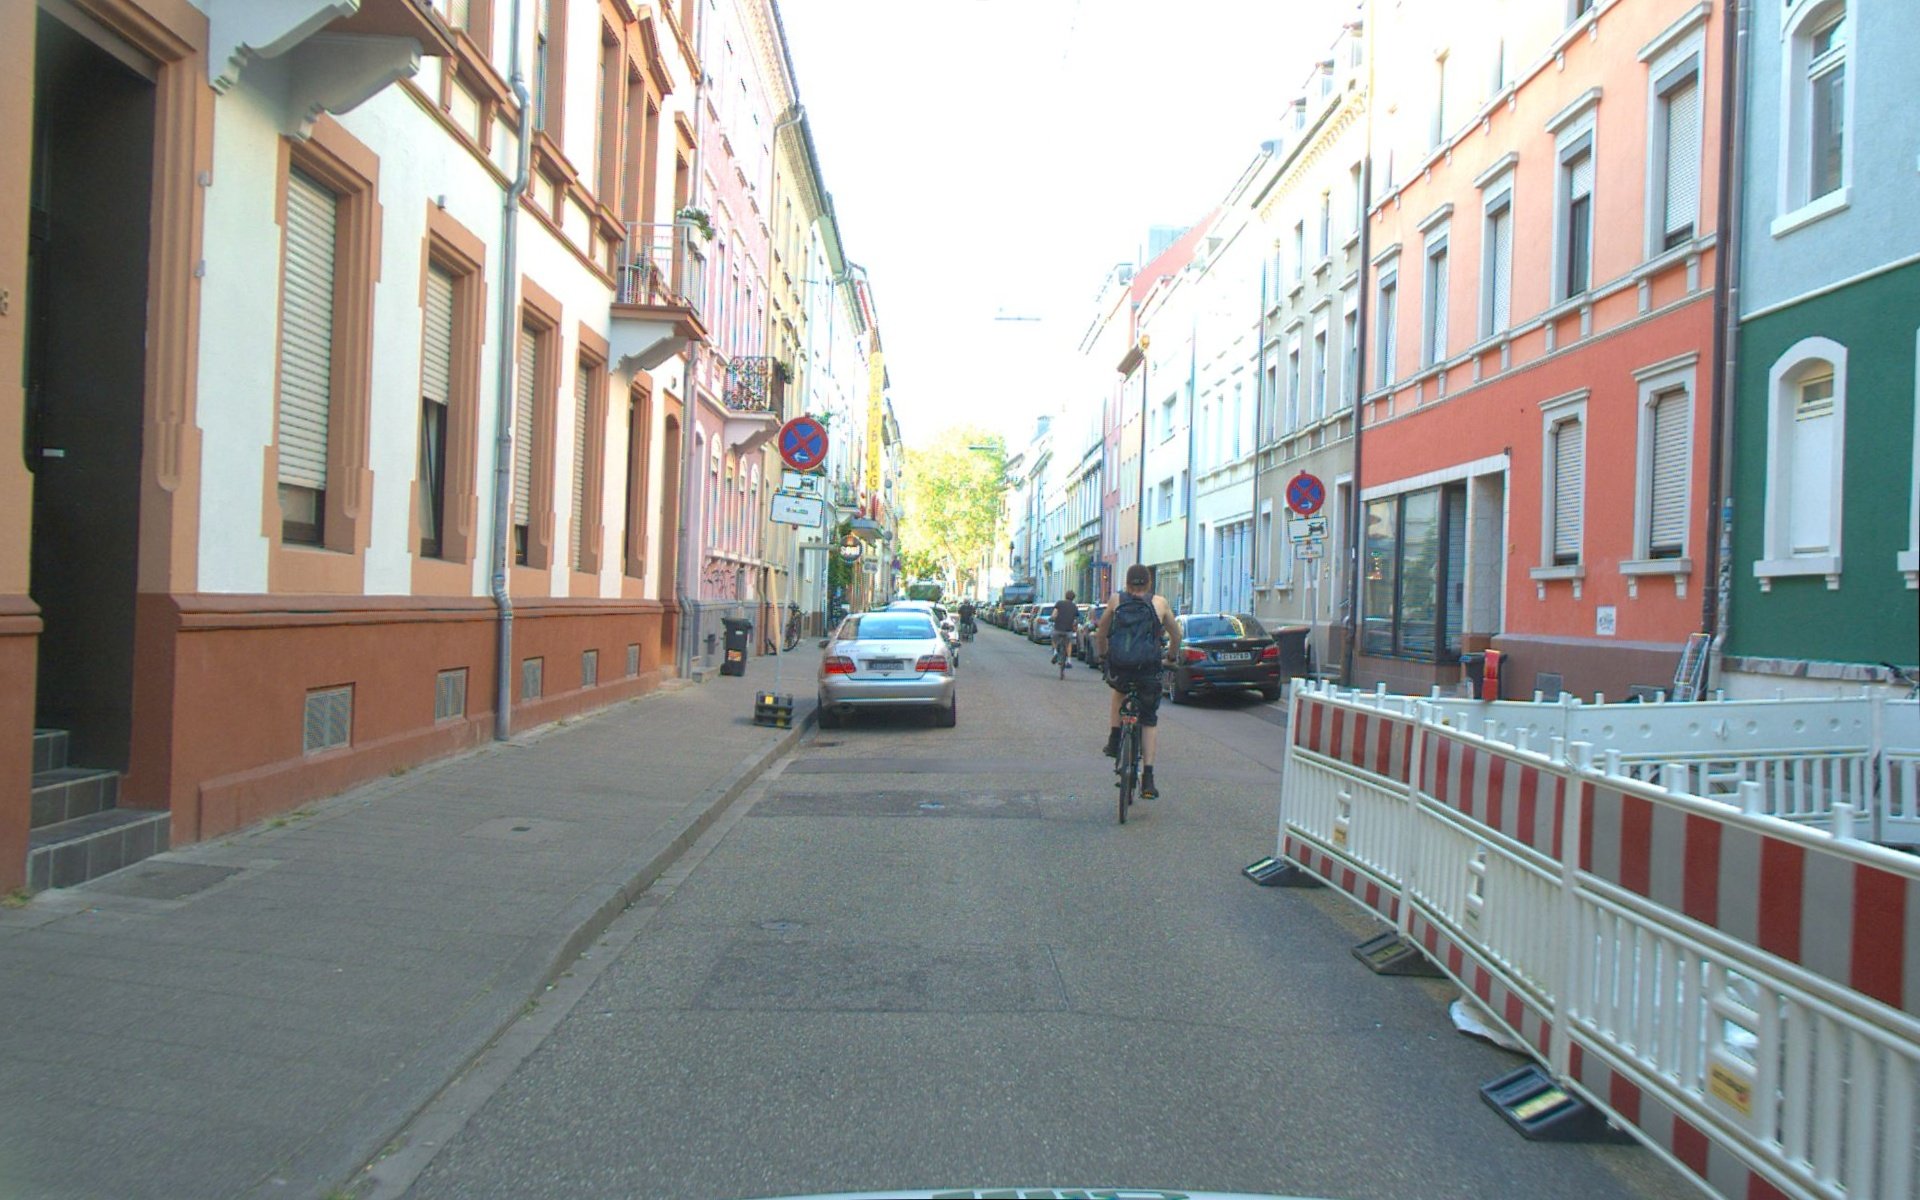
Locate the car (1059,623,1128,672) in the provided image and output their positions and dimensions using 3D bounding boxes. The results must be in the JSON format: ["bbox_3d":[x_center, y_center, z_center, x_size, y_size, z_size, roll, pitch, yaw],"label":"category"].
[{"bbox_3d":[4.005,1.403,50.106,1.676,1.407,3.999,0,-1,-1],"label":"car"}]

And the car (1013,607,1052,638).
[{"bbox_3d":[3.577,1.108,82.056,1.676,1.473,3.999,0,-1,-1],"label":"car"}]

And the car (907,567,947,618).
[{"bbox_3d":[-1.748,-0.375,86.144,1.871,2.540,4.163,1,0,-3],"label":"car"}]

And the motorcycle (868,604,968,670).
[{"bbox_3d":[-0.909,0.789,35.864,2.114,1.383,0.537,-1,1,-19],"label":"motorcycle"}]

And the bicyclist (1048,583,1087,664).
[{"bbox_3d":[2.207,0.466,34.052,0.688,1.633,0.812,1,1,-2],"label":"bicyclist"}]

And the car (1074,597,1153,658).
[{"bbox_3d":[4.084,0.722,44.435,1.676,1.583,3.999,0,-1,-1],"label":"car"}]

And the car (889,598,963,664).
[{"bbox_3d":[-0.788,0.713,38.751,1.638,1.467,4.164,0,-1,-1],"label":"car"}]

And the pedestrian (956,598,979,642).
[{"bbox_3d":[0.282,0.740,61.761,0.755,1.606,0.900,3,-1,-2],"label":"pedestrian"}]

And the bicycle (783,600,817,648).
[{"bbox_3d":[-3.878,0.571,40.137,0.580,1.108,2.078,3,-1,-1],"label":"bicycle"}]

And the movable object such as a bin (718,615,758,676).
[{"bbox_3d":[-3.621,0.737,27.038,0.532,0.961,0.487,3,-1,0],"label":"movable object such as a bin"}]

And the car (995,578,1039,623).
[{"bbox_3d":[3.308,0.049,97.535,2.261,2.582,6.768,0,-1,-1],"label":"car"}]

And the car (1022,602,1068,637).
[{"bbox_3d":[3.588,0.825,70.419,1.676,1.418,3.999,0,-1,-1],"label":"car"}]

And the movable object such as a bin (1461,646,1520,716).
[{"bbox_3d":[7.173,1.089,22.384,0.585,0.922,0.579,-1,-1,-3],"label":"movable object such as a bin"}]

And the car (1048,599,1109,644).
[{"bbox_3d":[3.948,0.720,55.567,1.676,1.407,3.999,2,-1,-1],"label":"car"}]

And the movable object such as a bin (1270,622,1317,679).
[{"bbox_3d":[6.532,0.981,32.440,0.722,1.094,0.676,0,-1,-8],"label":"movable object such as a bin"}]

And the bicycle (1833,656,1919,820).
[{"bbox_3d":[7.307,1.024,12.252,0.641,1.148,1.834,-2,-1,-1],"label":"bicycle"}]

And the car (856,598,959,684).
[{"bbox_3d":[-0.939,0.727,31.697,1.675,1.407,4.356,2,1,1],"label":"car"}]

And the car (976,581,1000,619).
[{"bbox_3d":[2.866,0.050,170.433,2.261,3.834,6.768,0,-1,-1],"label":"car"}]

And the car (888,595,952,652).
[{"bbox_3d":[-1.071,0.611,44.506,1.638,1.467,3.767,0,-1,-1],"label":"car"}]

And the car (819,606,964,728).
[{"bbox_3d":[-0.831,0.796,21.358,1.676,1.407,4.504,0,-1,-1],"label":"car"}]

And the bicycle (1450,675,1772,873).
[{"bbox_3d":[4.189,1.113,10.687,1.815,1.129,0.642,4,-1,-8],"label":"bicycle"}]

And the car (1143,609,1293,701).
[{"bbox_3d":[4.386,0.894,28.772,1.780,1.464,4.789,0,-1,-1],"label":"car"}]

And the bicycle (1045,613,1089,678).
[{"bbox_3d":[2.200,0.915,34.206,0.688,1.229,2.342,1,1,-1],"label":"bicycle"}]

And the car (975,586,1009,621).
[{"bbox_3d":[2.337,0.281,123.039,2.261,2.582,6.768,0,-1,-1],"label":"car"}]

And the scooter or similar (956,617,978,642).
[{"bbox_3d":[0.269,1.090,61.392,0.755,0.888,0.770,3,-1,-2],"label":"scooter or similar"}]

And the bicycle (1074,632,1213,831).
[{"bbox_3d":[1.297,0.892,12.110,0.687,1.229,2.342,2,0,-1],"label":"bicycle"}]

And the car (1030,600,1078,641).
[{"bbox_3d":[3.682,0.810,65.130,1.588,1.577,3.999,0,-1,-1],"label":"car"}]

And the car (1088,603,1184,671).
[{"bbox_3d":[4.124,0.852,39.309,1.780,1.548,3.999,0,-1,-1],"label":"car"}]

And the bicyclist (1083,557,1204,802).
[{"bbox_3d":[1.304,0.544,11.954,0.688,1.661,1.090,2,0,-1],"label":"bicyclist"}]
